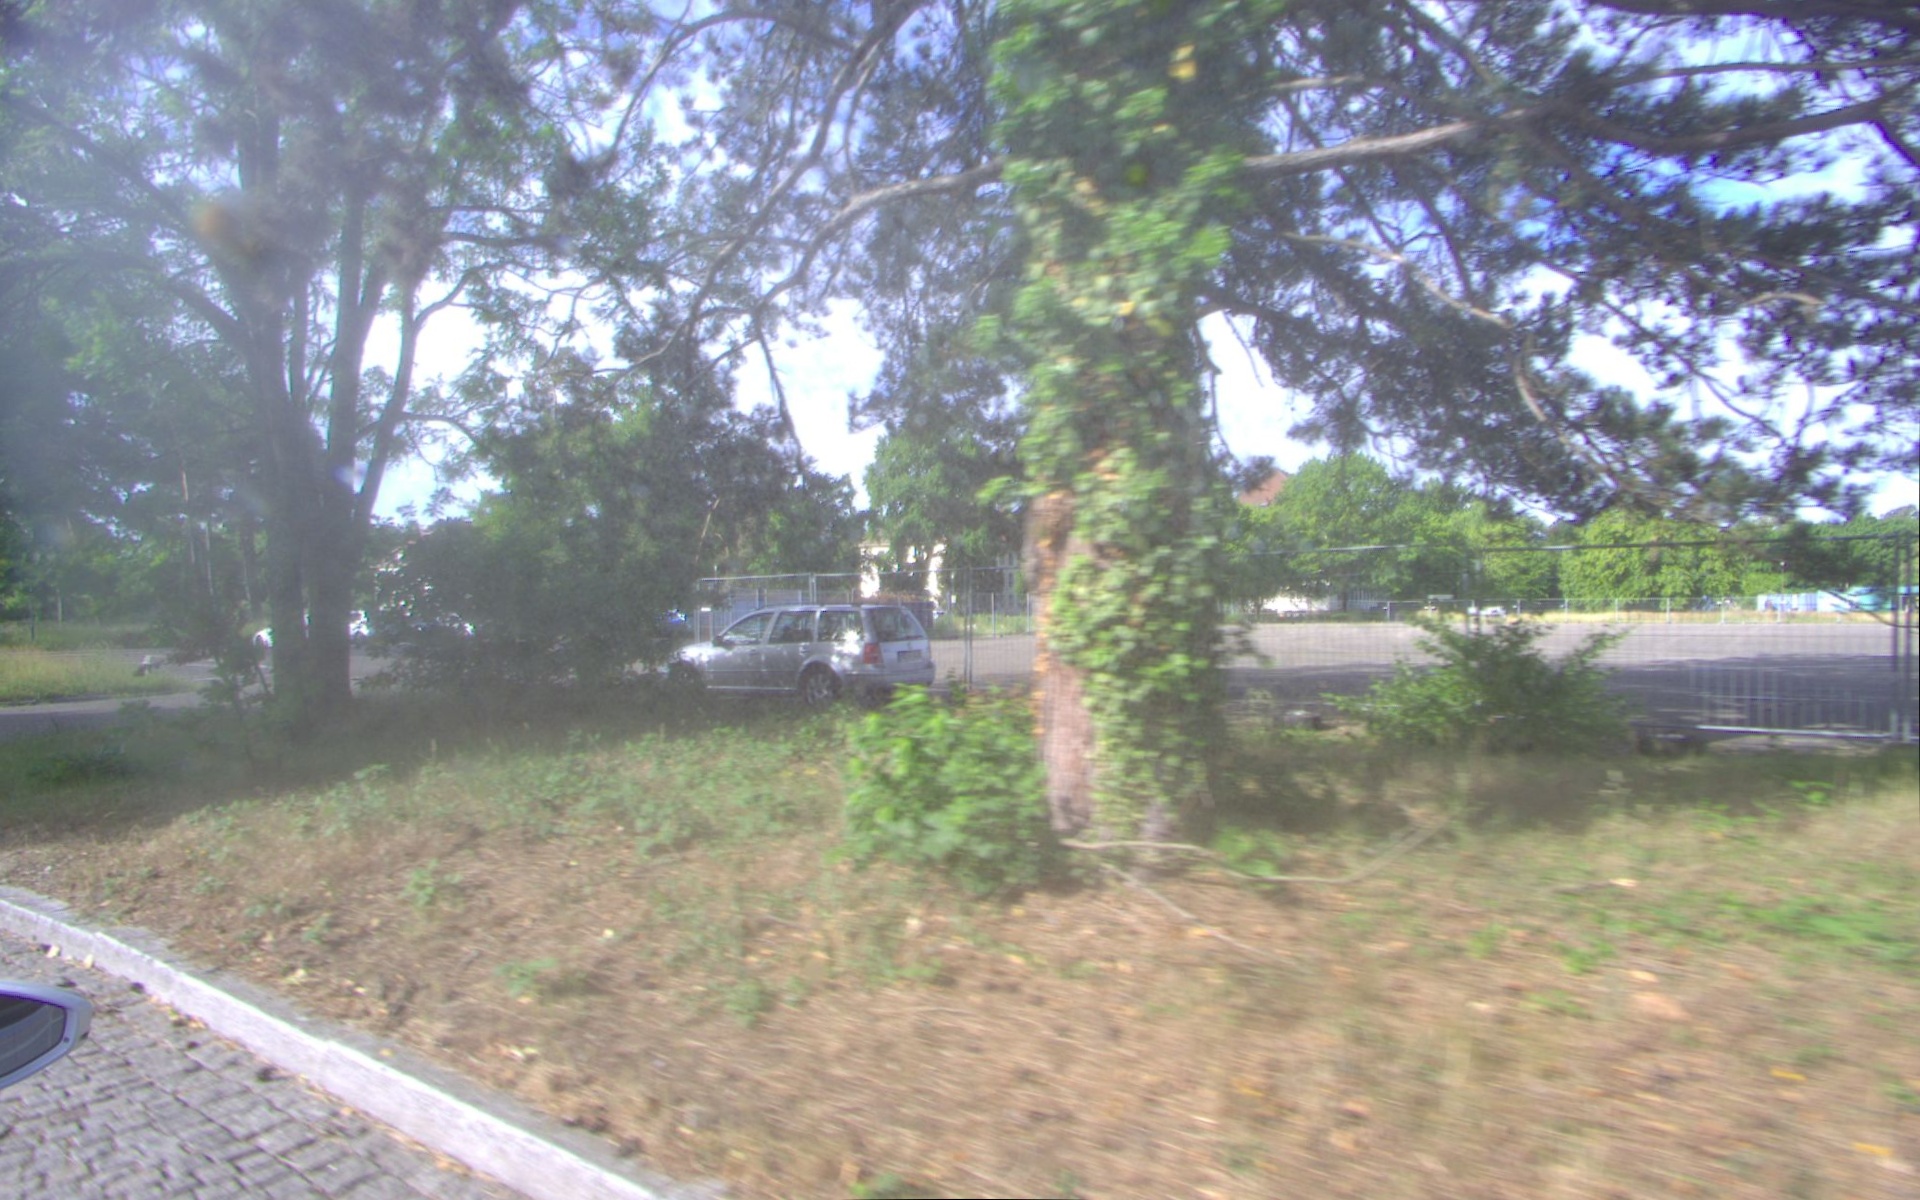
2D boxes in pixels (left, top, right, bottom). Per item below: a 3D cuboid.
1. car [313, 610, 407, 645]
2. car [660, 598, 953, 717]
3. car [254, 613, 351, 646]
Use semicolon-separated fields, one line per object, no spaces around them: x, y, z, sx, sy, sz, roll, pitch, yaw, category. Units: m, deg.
-27.029;1.208;45.085;4.266;1.496;1.729;-1;0;29;car
-2.221;0.746;14.249;3.939;1.487;1.665;-1;0;29;car
-28.111;1.225;42.787;4.266;1.329;1.729;0;0;29;car
